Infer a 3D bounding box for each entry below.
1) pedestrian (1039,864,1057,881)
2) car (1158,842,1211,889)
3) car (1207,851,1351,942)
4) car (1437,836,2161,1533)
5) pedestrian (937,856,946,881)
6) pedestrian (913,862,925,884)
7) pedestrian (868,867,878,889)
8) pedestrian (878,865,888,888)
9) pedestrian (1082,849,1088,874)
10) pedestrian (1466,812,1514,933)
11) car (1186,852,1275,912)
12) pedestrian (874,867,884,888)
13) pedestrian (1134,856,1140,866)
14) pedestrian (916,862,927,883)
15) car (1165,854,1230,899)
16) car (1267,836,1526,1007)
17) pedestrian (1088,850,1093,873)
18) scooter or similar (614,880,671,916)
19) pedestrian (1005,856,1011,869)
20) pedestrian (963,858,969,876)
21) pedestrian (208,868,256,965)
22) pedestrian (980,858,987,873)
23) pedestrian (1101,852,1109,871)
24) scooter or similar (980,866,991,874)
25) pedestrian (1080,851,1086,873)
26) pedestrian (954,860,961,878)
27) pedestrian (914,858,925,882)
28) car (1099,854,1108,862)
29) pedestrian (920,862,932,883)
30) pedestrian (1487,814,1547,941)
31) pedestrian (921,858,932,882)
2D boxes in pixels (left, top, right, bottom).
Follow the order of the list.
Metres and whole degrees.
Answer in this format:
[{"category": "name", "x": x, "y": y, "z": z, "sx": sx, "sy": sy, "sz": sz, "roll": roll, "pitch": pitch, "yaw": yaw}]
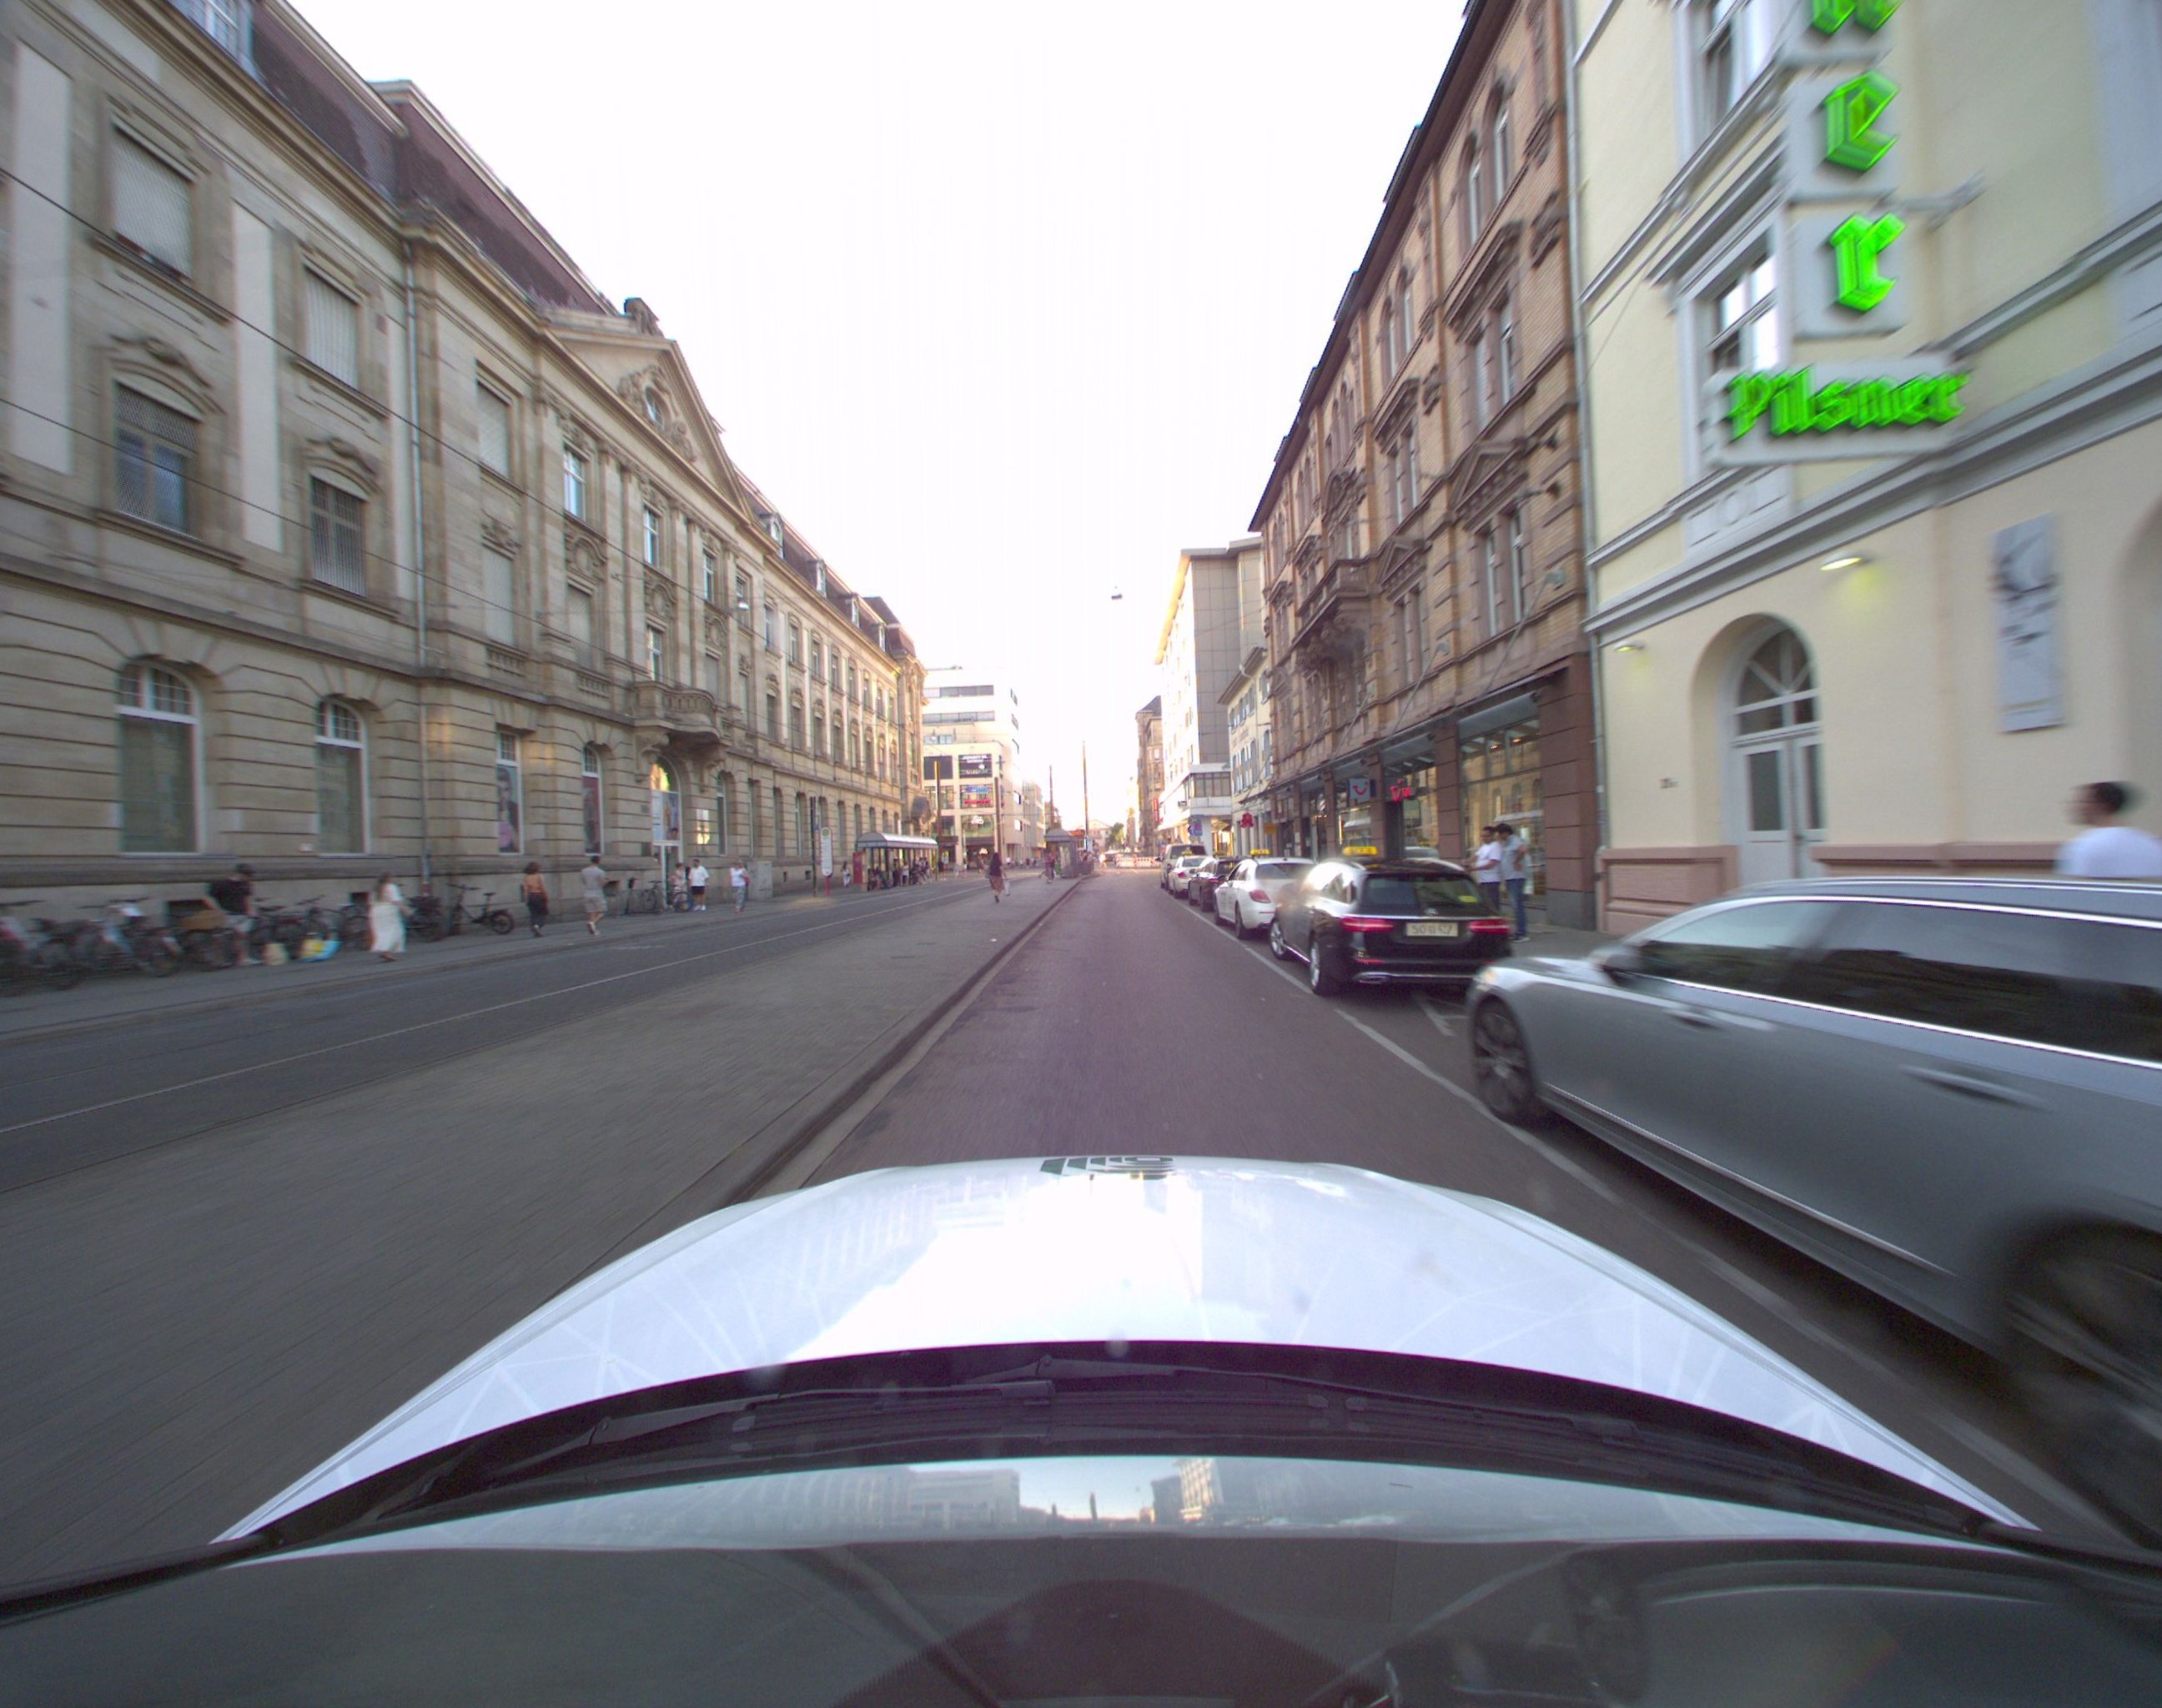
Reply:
[{"category": "pedestrian", "x": -1.883, "y": 1.040, "z": 46.669, "sx": 0.791, "sy": 0.939, "sz": 0.697, "roll": -2, "pitch": 0, "yaw": 24}, {"category": "car", "x": 4.495, "y": 0.501, "z": 36.109, "sx": 1.870, "sy": 1.923, "sz": 4.701, "roll": 0, "pitch": -1, "yaw": 1}, {"category": "car", "x": 3.664, "y": 0.733, "z": 15.962, "sx": 1.726, "sy": 1.511, "sz": 4.866, "roll": 0, "pitch": -1, "yaw": 1}, {"category": "car", "x": 3.212, "y": 0.699, "z": 3.041, "sx": 1.799, "sy": 1.476, "sz": 4.694, "roll": -1, "pitch": -1, "yaw": 1}, {"category": "pedestrian", "x": -10.113, "y": 1.055, "z": 59.019, "sx": 0.558, "sy": 1.776, "sz": 0.468, "roll": -2, "pitch": 0, "yaw": -3}, {"category": "pedestrian", "x": -10.185, "y": 1.184, "z": 51.207, "sx": 0.515, "sy": 1.327, "sz": 0.639, "roll": -2, "pitch": -1, "yaw": 5}, {"category": "pedestrian", "x": -10.662, "y": 1.222, "z": 41.693, "sx": 0.362, "sy": 1.102, "sz": 0.430, "roll": -1, "pitch": -1, "yaw": 7}, {"category": "pedestrian", "x": -10.504, "y": 1.166, "z": 43.123, "sx": 0.362, "sy": 1.200, "sz": 0.430, "roll": -1, "pitch": -1, "yaw": 7}, {"category": "pedestrian", "x": 0.297, "y": 0.547, "z": 58.142, "sx": 0.410, "sy": 1.767, "sz": 0.594, "roll": -1, "pitch": -1, "yaw": -1}, {"category": "pedestrian", "x": 6.182, "y": 0.279, "z": 12.323, "sx": 0.372, "sy": 1.768, "sz": 0.455, "roll": -4, "pitch": 0, "yaw": -2}, {"category": "car", "x": 4.080, "y": 0.739, "z": 22.990, "sx": 1.720, "sy": 1.477, "sz": 4.821, "roll": -1, "pitch": -1, "yaw": 1}, {"category": "pedestrian", "x": -10.487, "y": 1.226, "z": 42.276, "sx": 0.362, "sy": 1.102, "sz": 0.430, "roll": -1, "pitch": -1, "yaw": 7}, {"category": "pedestrian", "x": 8.817, "y": 1.130, "z": 128.198, "sx": 0.709, "sy": 1.611, "sz": 0.822, "roll": -1, "pitch": -1, "yaw": -1}, {"category": "pedestrian", "x": -10.162, "y": 1.192, "z": 51.975, "sx": 0.515, "sy": 1.327, "sz": 0.639, "roll": -2, "pitch": -1, "yaw": 5}, {"category": "car", "x": 4.139, "y": 0.741, "z": 29.511, "sx": 1.799, "sy": 1.483, "sz": 4.780, "roll": 0, "pitch": 0, "yaw": 1}, {"category": "car", "x": 3.469, "y": 0.668, "z": 9.894, "sx": 1.725, "sy": 1.590, "sz": 4.447, "roll": -1, "pitch": -1, "yaw": 5}, {"category": "pedestrian", "x": 0.717, "y": 0.592, "z": 63.968, "sx": 0.340, "sy": 1.796, "sz": 0.544, "roll": -1, "pitch": -1, "yaw": 0}, {"category": "scooter or similar", "x": -13.510, "y": 1.353, "z": 25.079, "sx": 1.539, "sy": 1.068, "sz": 0.451, "roll": -1, "pitch": -1, "yaw": 6}, {"category": "pedestrian", "x": -10.681, "y": 1.244, "z": 118.890, "sx": 0.569, "sy": 1.855, "sz": 0.819, "roll": -1, "pitch": -1, "yaw": 13}, {"category": "pedestrian", "x": -10.070, "y": 1.147, "z": 71.289, "sx": 0.526, "sy": 1.525, "sz": 0.500, "roll": -2, "pitch": 0, "yaw": -12}, {"category": "pedestrian", "x": -14.504, "y": 1.057, "z": 13.918, "sx": 0.362, "sy": 1.633, "sz": 0.430, "roll": -1, "pitch": -1, "yaw": 7}, {"category": "pedestrian", "x": -10.865, "y": 1.300, "z": 90.771, "sx": 0.567, "sy": 1.593, "sz": 0.448, "roll": -2, "pitch": -1, "yaw": -1}, {"category": "pedestrian", "x": 2.425, "y": 0.760, "z": 82.053, "sx": 0.696, "sy": 1.815, "sz": 0.853, "roll": -1, "pitch": -1, "yaw": 4}, {"category": "scooter or similar", "x": -10.974, "y": 1.858, "z": 93.287, "sx": 1.089, "sy": 0.904, "sz": 0.891, "roll": -2, "pitch": 0, "yaw": 3}, {"category": "pedestrian", "x": 0.169, "y": 0.570, "z": 61.157, "sx": 0.384, "sy": 1.642, "sz": 0.549, "roll": -1, "pitch": -1, "yaw": -1}, {"category": "pedestrian", "x": -10.799, "y": 1.299, "z": 71.209, "sx": 0.518, "sy": 1.525, "sz": 0.500, "roll": -2, "pitch": 0, "yaw": -9}, {"category": "pedestrian", "x": -10.959, "y": 1.082, "z": 55.159, "sx": 0.515, "sy": 1.646, "sz": 0.639, "roll": -2, "pitch": -1, "yaw": 5}, {"category": "car", "x": 5.237, "y": 0.978, "z": 191.971, "sx": 1.986, "sy": 1.904, "sz": 4.001, "roll": -1, "pitch": -1, "yaw": 1}, {"category": "pedestrian", "x": -10.060, "y": 1.200, "z": 52.844, "sx": 0.515, "sy": 1.327, "sz": 0.639, "roll": -2, "pitch": -1, "yaw": 5}, {"category": "pedestrian", "x": 6.312, "y": 0.336, "z": 11.817, "sx": 0.372, "sy": 1.768, "sz": 0.663, "roll": -4, "pitch": 0, "yaw": -2}, {"category": "pedestrian", "x": -10.587, "y": 1.101, "z": 55.918, "sx": 0.515, "sy": 1.569, "sz": 0.639, "roll": -2, "pitch": -1, "yaw": 5}]
